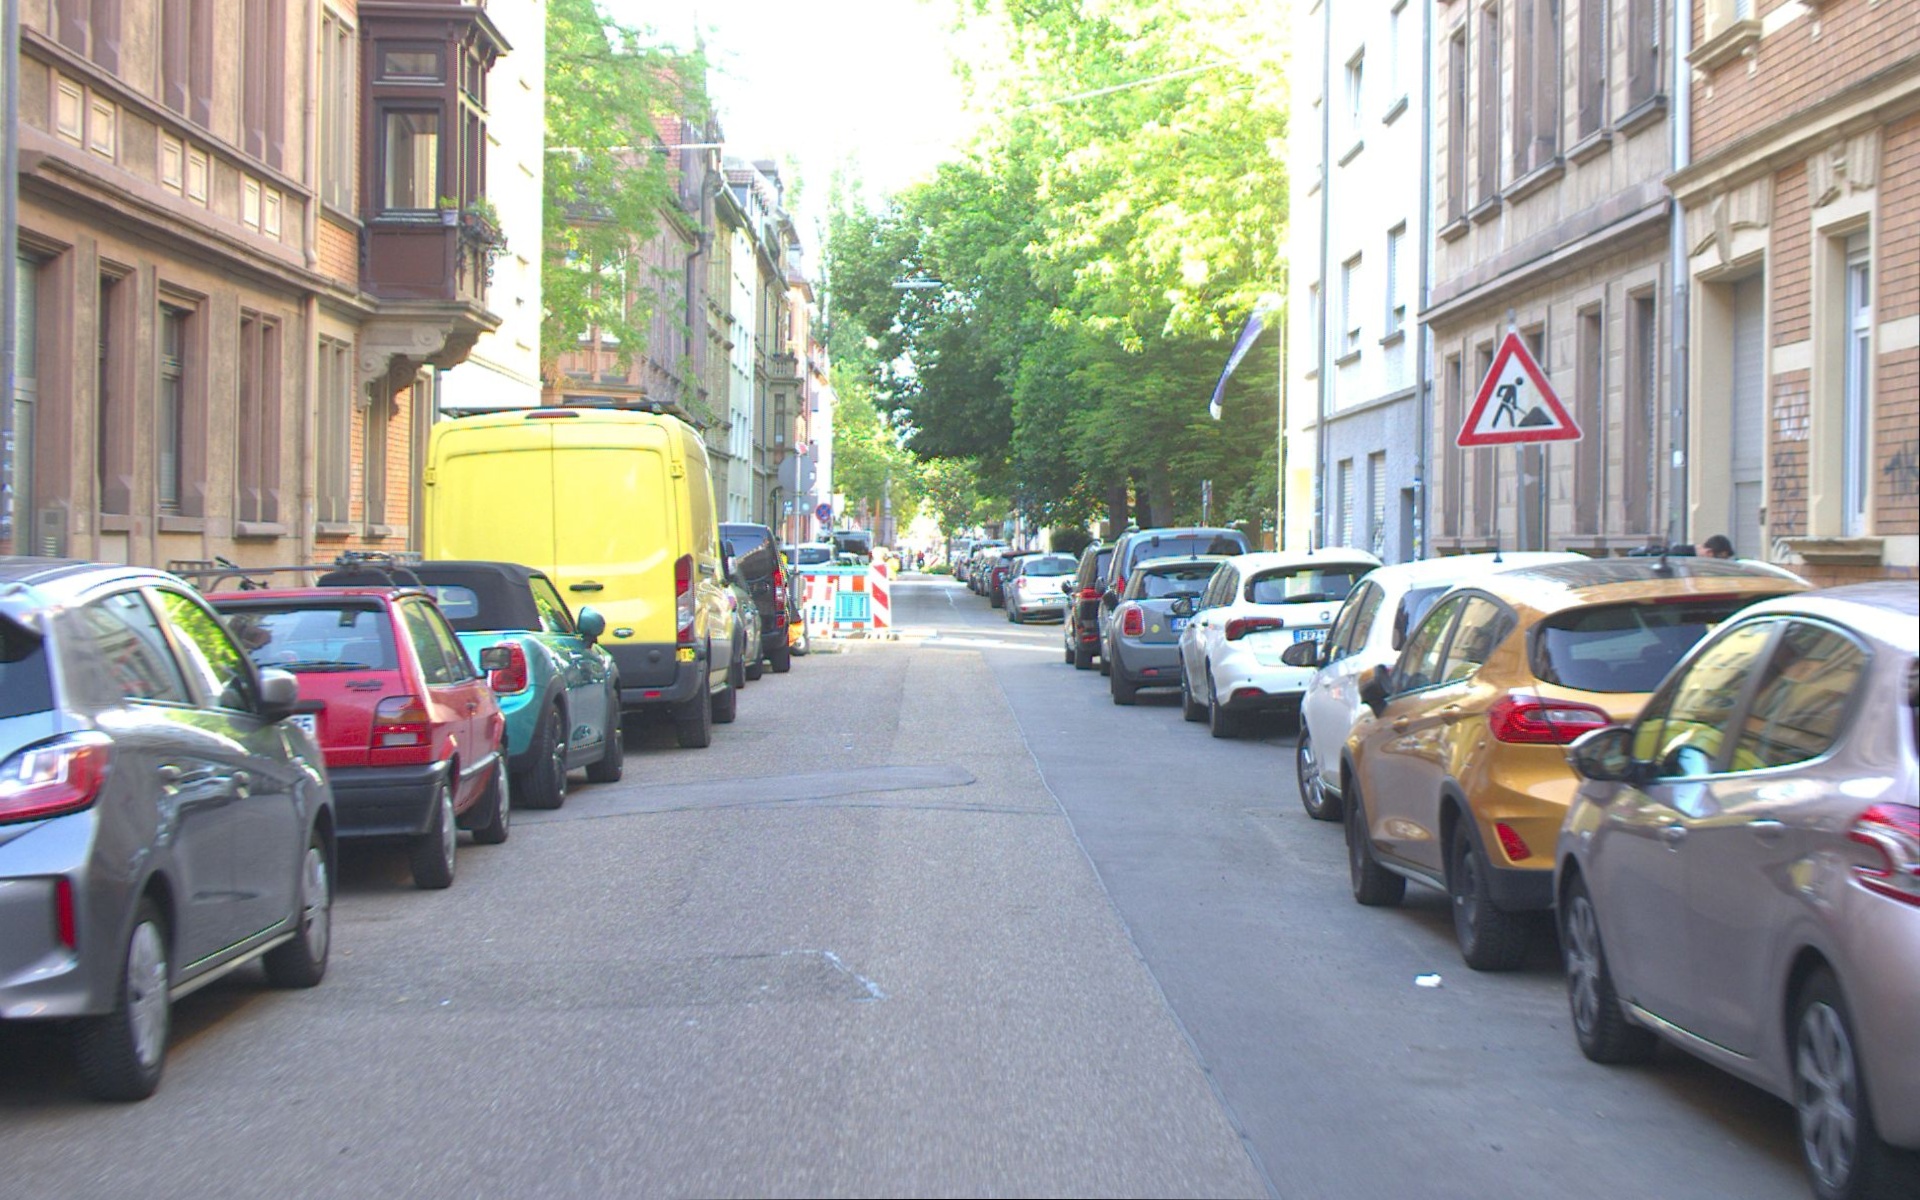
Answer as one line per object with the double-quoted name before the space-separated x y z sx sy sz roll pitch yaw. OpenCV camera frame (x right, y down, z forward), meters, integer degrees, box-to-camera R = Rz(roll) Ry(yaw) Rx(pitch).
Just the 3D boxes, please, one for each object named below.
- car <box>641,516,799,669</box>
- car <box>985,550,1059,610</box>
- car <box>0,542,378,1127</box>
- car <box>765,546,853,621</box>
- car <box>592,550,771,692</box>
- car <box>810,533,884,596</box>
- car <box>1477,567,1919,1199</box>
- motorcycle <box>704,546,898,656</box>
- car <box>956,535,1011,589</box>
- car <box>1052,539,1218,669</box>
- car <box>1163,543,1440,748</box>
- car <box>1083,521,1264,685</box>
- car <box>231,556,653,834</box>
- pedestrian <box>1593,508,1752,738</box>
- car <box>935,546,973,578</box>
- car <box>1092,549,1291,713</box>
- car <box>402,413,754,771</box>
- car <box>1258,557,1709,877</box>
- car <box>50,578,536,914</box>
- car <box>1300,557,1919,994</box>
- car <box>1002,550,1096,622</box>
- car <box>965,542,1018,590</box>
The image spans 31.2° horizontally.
"car" -2.911 -0.119 42.163 1.818 1.760 4.336 1 1 -3
"car" 1.727 -0.567 96.350 1.894 1.620 4.000 1 0 -1
"car" -2.999 0.586 10.656 1.694 1.469 3.919 -2 1 0
"car" -3.549 -0.397 81.317 1.882 1.701 4.000 -1 0 0
"car" -3.006 0.197 37.707 1.677 1.444 3.645 1 1 -1
"car" -3.885 -1.221 119.223 2.309 2.107 5.170 1 0 1
"car" 2.677 0.674 9.284 1.725 1.412 4.094 -4 1 -2
"motorcycle" -2.195 0.016 47.585 2.511 1.477 0.904 1 1 -27
"car" 0.997 -1.606 146.807 2.160 2.248 4.526 1 0 -1
"car" 2.273 0.036 45.634 1.900 1.634 4.391 1 0 -1
"car" 2.853 0.329 29.640 1.753 1.513 4.444 -4 1 -1
"car" 2.482 -0.018 40.963 1.753 1.780 4.724 -2 1 -1
"car" -3.023 0.500 20.854 1.718 1.408 3.897 -4 1 3
"pedestrian" 5.138 0.162 24.805 0.653 1.625 0.880 -1 0 -42
"car" -0.333 -2.045 184.358 1.993 1.722 4.000 0 1 -1
"car" 2.333 0.272 35.529 1.754 1.448 4.288 -4 1 1
"car" -2.908 -0.101 27.521 2.175 2.499 5.878 -2 1 -1
"car" 2.762 0.551 19.000 1.720 1.475 4.083 -3 1 -1
"car" -3.022 0.602 16.240 1.618 1.322 3.613 -2 1 -1
"car" 2.568 0.587 14.028 1.753 1.441 4.069 -3 1 -2
"car" 1.916 -0.330 75.066 1.723 1.517 4.001 0 1 -3
"car" 1.150 -1.270 127.581 1.829 1.698 4.000 1 1 -1
